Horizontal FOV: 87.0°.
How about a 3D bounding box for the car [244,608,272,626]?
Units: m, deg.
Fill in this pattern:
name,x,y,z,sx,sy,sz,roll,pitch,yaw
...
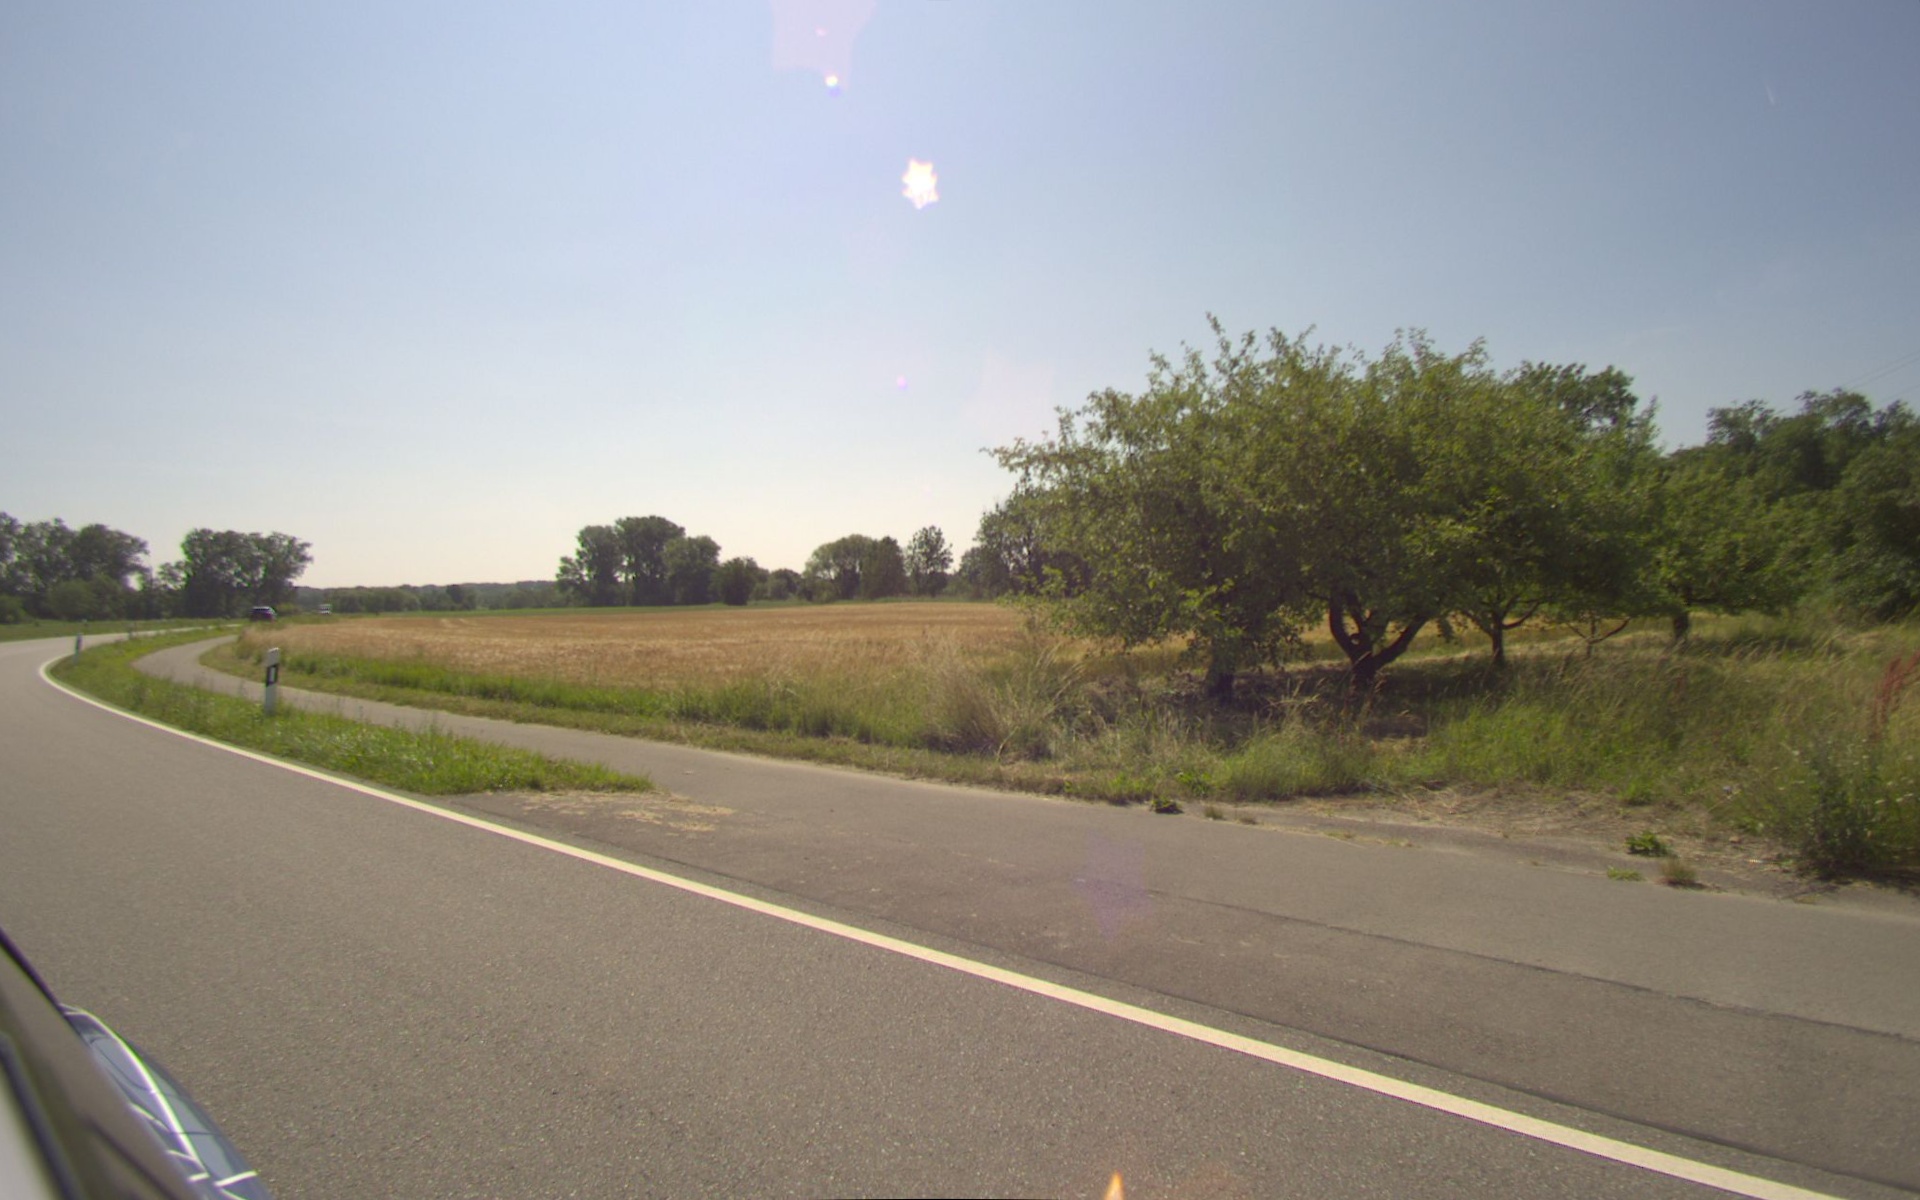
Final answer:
name,x,y,z,sx,sy,sz,roll,pitch,yaw
car,-70.821,1.711,102.174,1.860,1.728,4.027,0,-1,-28
